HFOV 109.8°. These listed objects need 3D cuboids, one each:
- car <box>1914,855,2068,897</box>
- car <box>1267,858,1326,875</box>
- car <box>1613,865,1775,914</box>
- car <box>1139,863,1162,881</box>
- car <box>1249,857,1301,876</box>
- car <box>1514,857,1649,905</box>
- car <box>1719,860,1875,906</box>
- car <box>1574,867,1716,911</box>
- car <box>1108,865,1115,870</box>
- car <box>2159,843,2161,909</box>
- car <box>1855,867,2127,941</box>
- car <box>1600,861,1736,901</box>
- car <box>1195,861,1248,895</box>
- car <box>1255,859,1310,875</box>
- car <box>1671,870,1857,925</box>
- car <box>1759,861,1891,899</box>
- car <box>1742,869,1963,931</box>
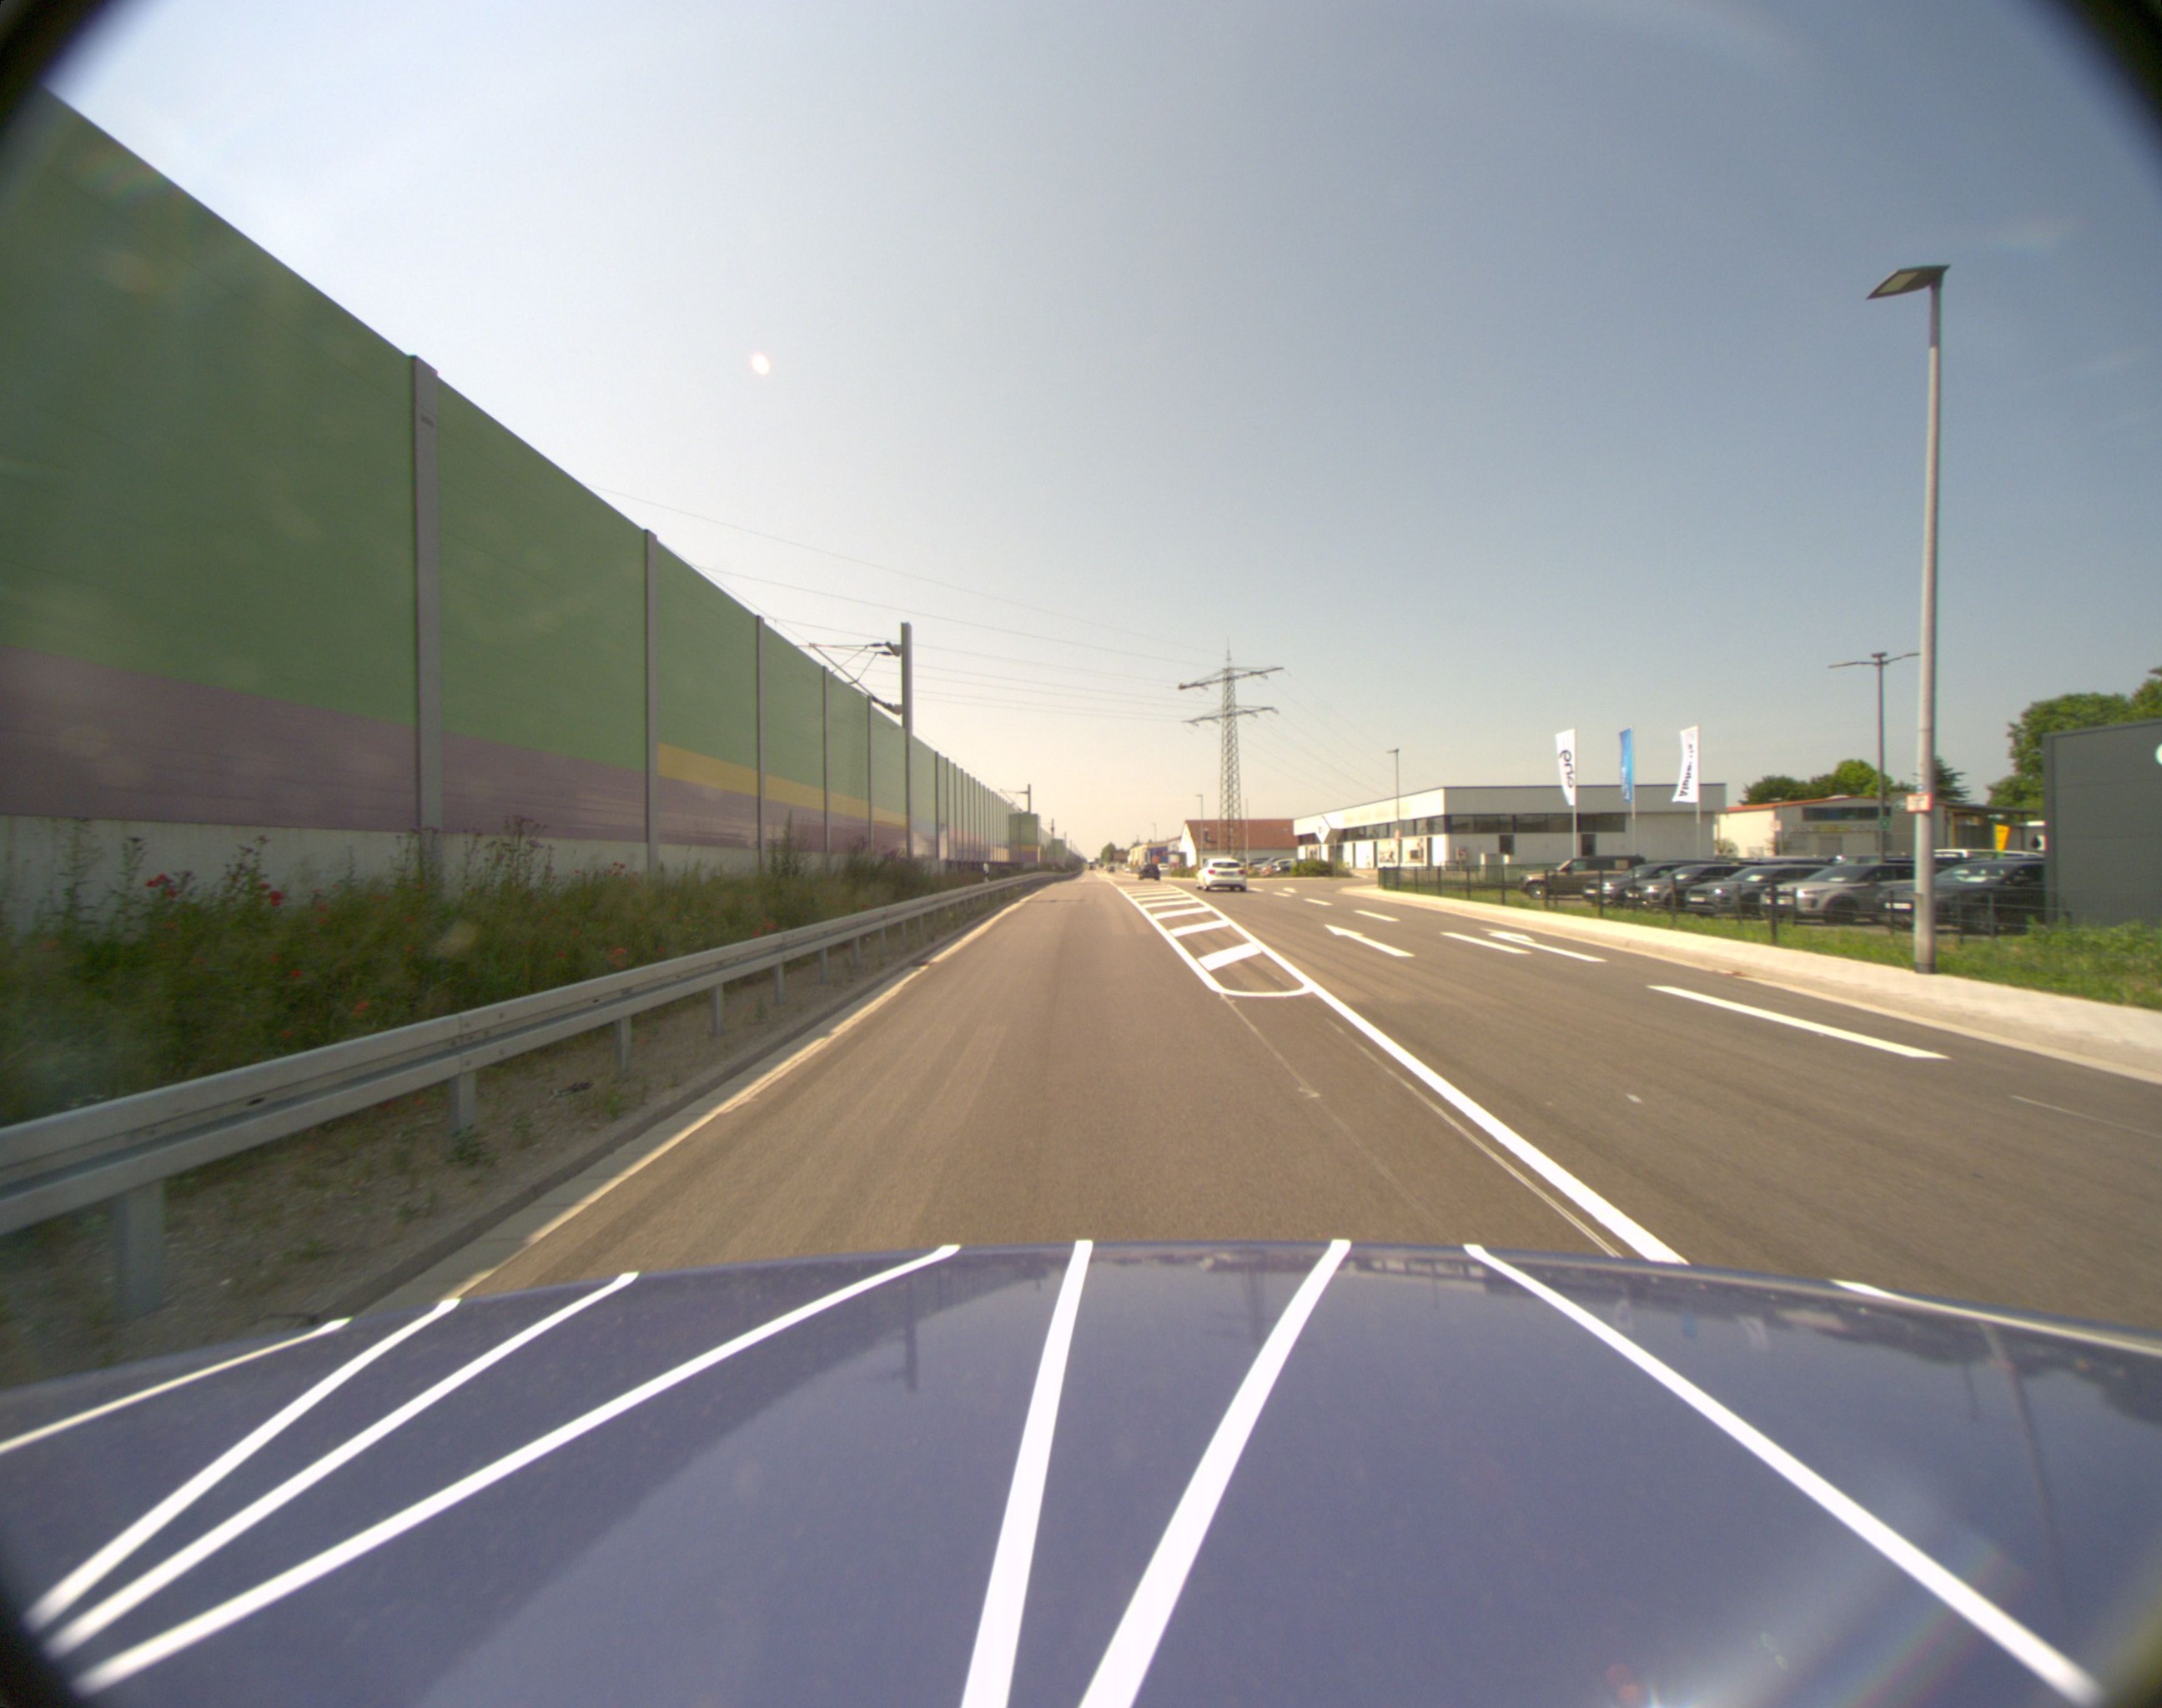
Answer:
[{"bbox_3d":[39.120,0.930,32.751,4.315,1.723,1.967,-1,-1,-1],"label":"car"},{"bbox_3d":[17.214,1.016,60.827,4.235,1.385,1.833,0,-1,-3],"label":"car"},{"bbox_3d":[21.049,1.208,26.217,3.997,1.622,1.977,0,-1,-1],"label":"car"},{"bbox_3d":[6.645,1.683,72.948,1.882,1.663,4.291,0,-1,1],"label":"car"},{"bbox_3d":[17.374,1.131,68.139,4.235,1.638,1.833,0,-1,-3],"label":"car"},{"bbox_3d":[21.406,1.136,32.577,4.666,1.854,2.070,-1,1,38],"label":"car"},{"bbox_3d":[26.832,1.068,28.582,3.997,1.654,1.977,0,-1,-1],"label":"car"},{"bbox_3d":[21.349,1.309,28.891,3.997,1.622,1.887,0,-1,-1],"label":"car"},{"bbox_3d":[8.057,3.543,203.232,1.675,1.414,4.001,1,-1,0],"label":"car"},{"bbox_3d":[32.003,0.578,20.371,3.847,1.817,1.686,-1,-1,-1],"label":"car"},{"bbox_3d":[20.885,1.112,17.560,4.159,1.622,1.823,0,-1,-1],"label":"car"},{"bbox_3d":[25.365,1.123,32.924,4.496,1.553,1.931,-1,0,44],"label":"car"},{"bbox_3d":[6.276,1.050,34.305,1.785,1.407,4.051,0,0,3],"label":"car"},{"bbox_3d":[17.181,1.118,64.862,4.235,1.306,1.833,0,-1,-3],"label":"car"},{"bbox_3d":[20.997,1.304,23.500,3.997,1.622,1.977,0,-1,-1],"label":"car"},{"bbox_3d":[33.376,1.174,34.171,3.997,1.654,1.977,0,-1,-1],"label":"car"},{"bbox_3d":[20.964,1.224,20.800,3.996,1.622,1.968,0,-1,1],"label":"car"}]
